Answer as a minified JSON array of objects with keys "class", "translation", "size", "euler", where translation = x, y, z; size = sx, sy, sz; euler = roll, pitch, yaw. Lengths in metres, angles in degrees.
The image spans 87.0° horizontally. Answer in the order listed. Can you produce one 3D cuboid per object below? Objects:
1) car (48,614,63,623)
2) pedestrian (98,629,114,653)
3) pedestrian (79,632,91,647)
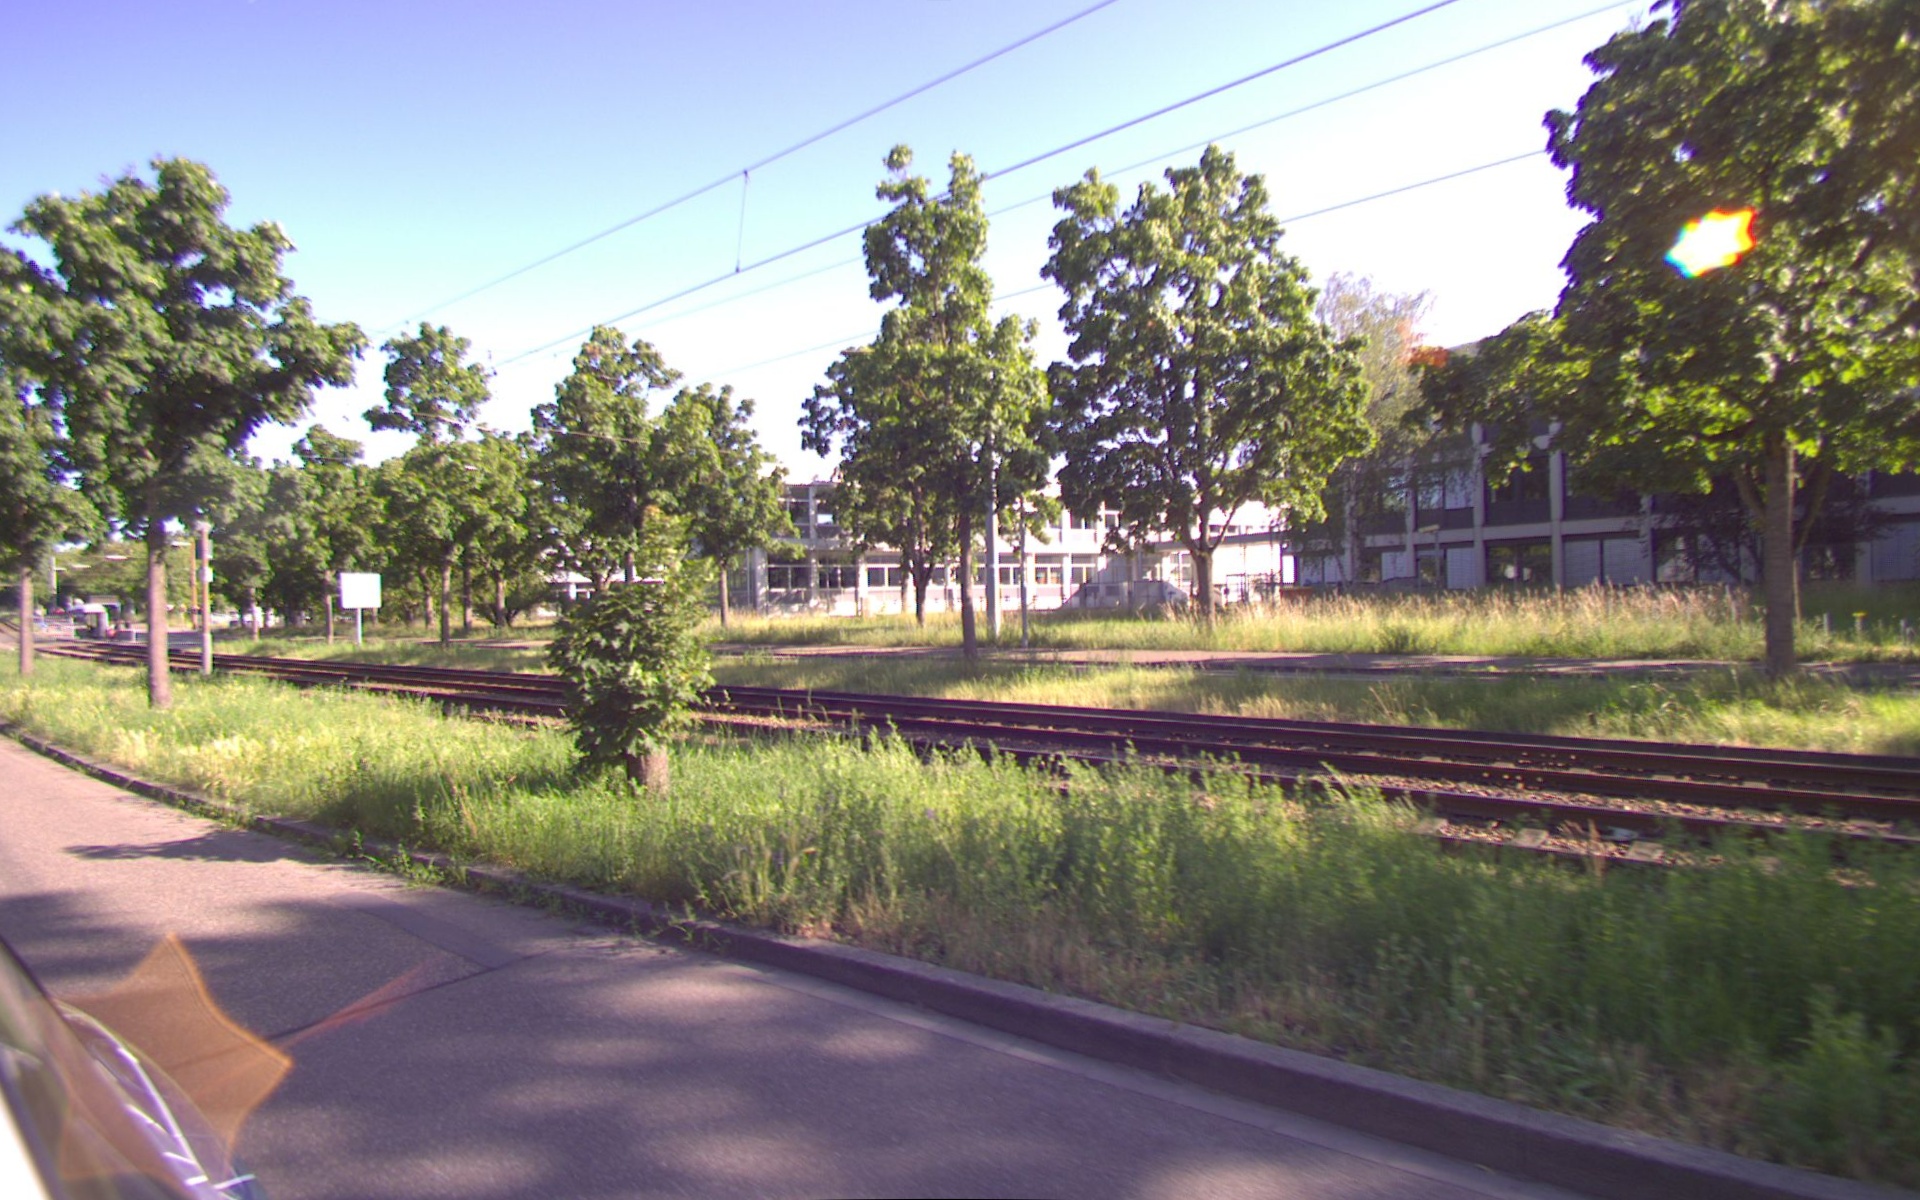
[{"class":"car","translation":[-168.611,3.522,188.592],"size":[3.455,1.597,1.679],"euler":[-2,-1,42]},{"class":"pedestrian","translation":[-63.974,3.080,75.818],"size":[0.781,1.765,0.775],"euler":[-2,0,42]},{"class":"pedestrian","translation":[-74.417,3.388,86.061],"size":[0.680,1.258,0.643],"euler":[-2,-3,34]}]
